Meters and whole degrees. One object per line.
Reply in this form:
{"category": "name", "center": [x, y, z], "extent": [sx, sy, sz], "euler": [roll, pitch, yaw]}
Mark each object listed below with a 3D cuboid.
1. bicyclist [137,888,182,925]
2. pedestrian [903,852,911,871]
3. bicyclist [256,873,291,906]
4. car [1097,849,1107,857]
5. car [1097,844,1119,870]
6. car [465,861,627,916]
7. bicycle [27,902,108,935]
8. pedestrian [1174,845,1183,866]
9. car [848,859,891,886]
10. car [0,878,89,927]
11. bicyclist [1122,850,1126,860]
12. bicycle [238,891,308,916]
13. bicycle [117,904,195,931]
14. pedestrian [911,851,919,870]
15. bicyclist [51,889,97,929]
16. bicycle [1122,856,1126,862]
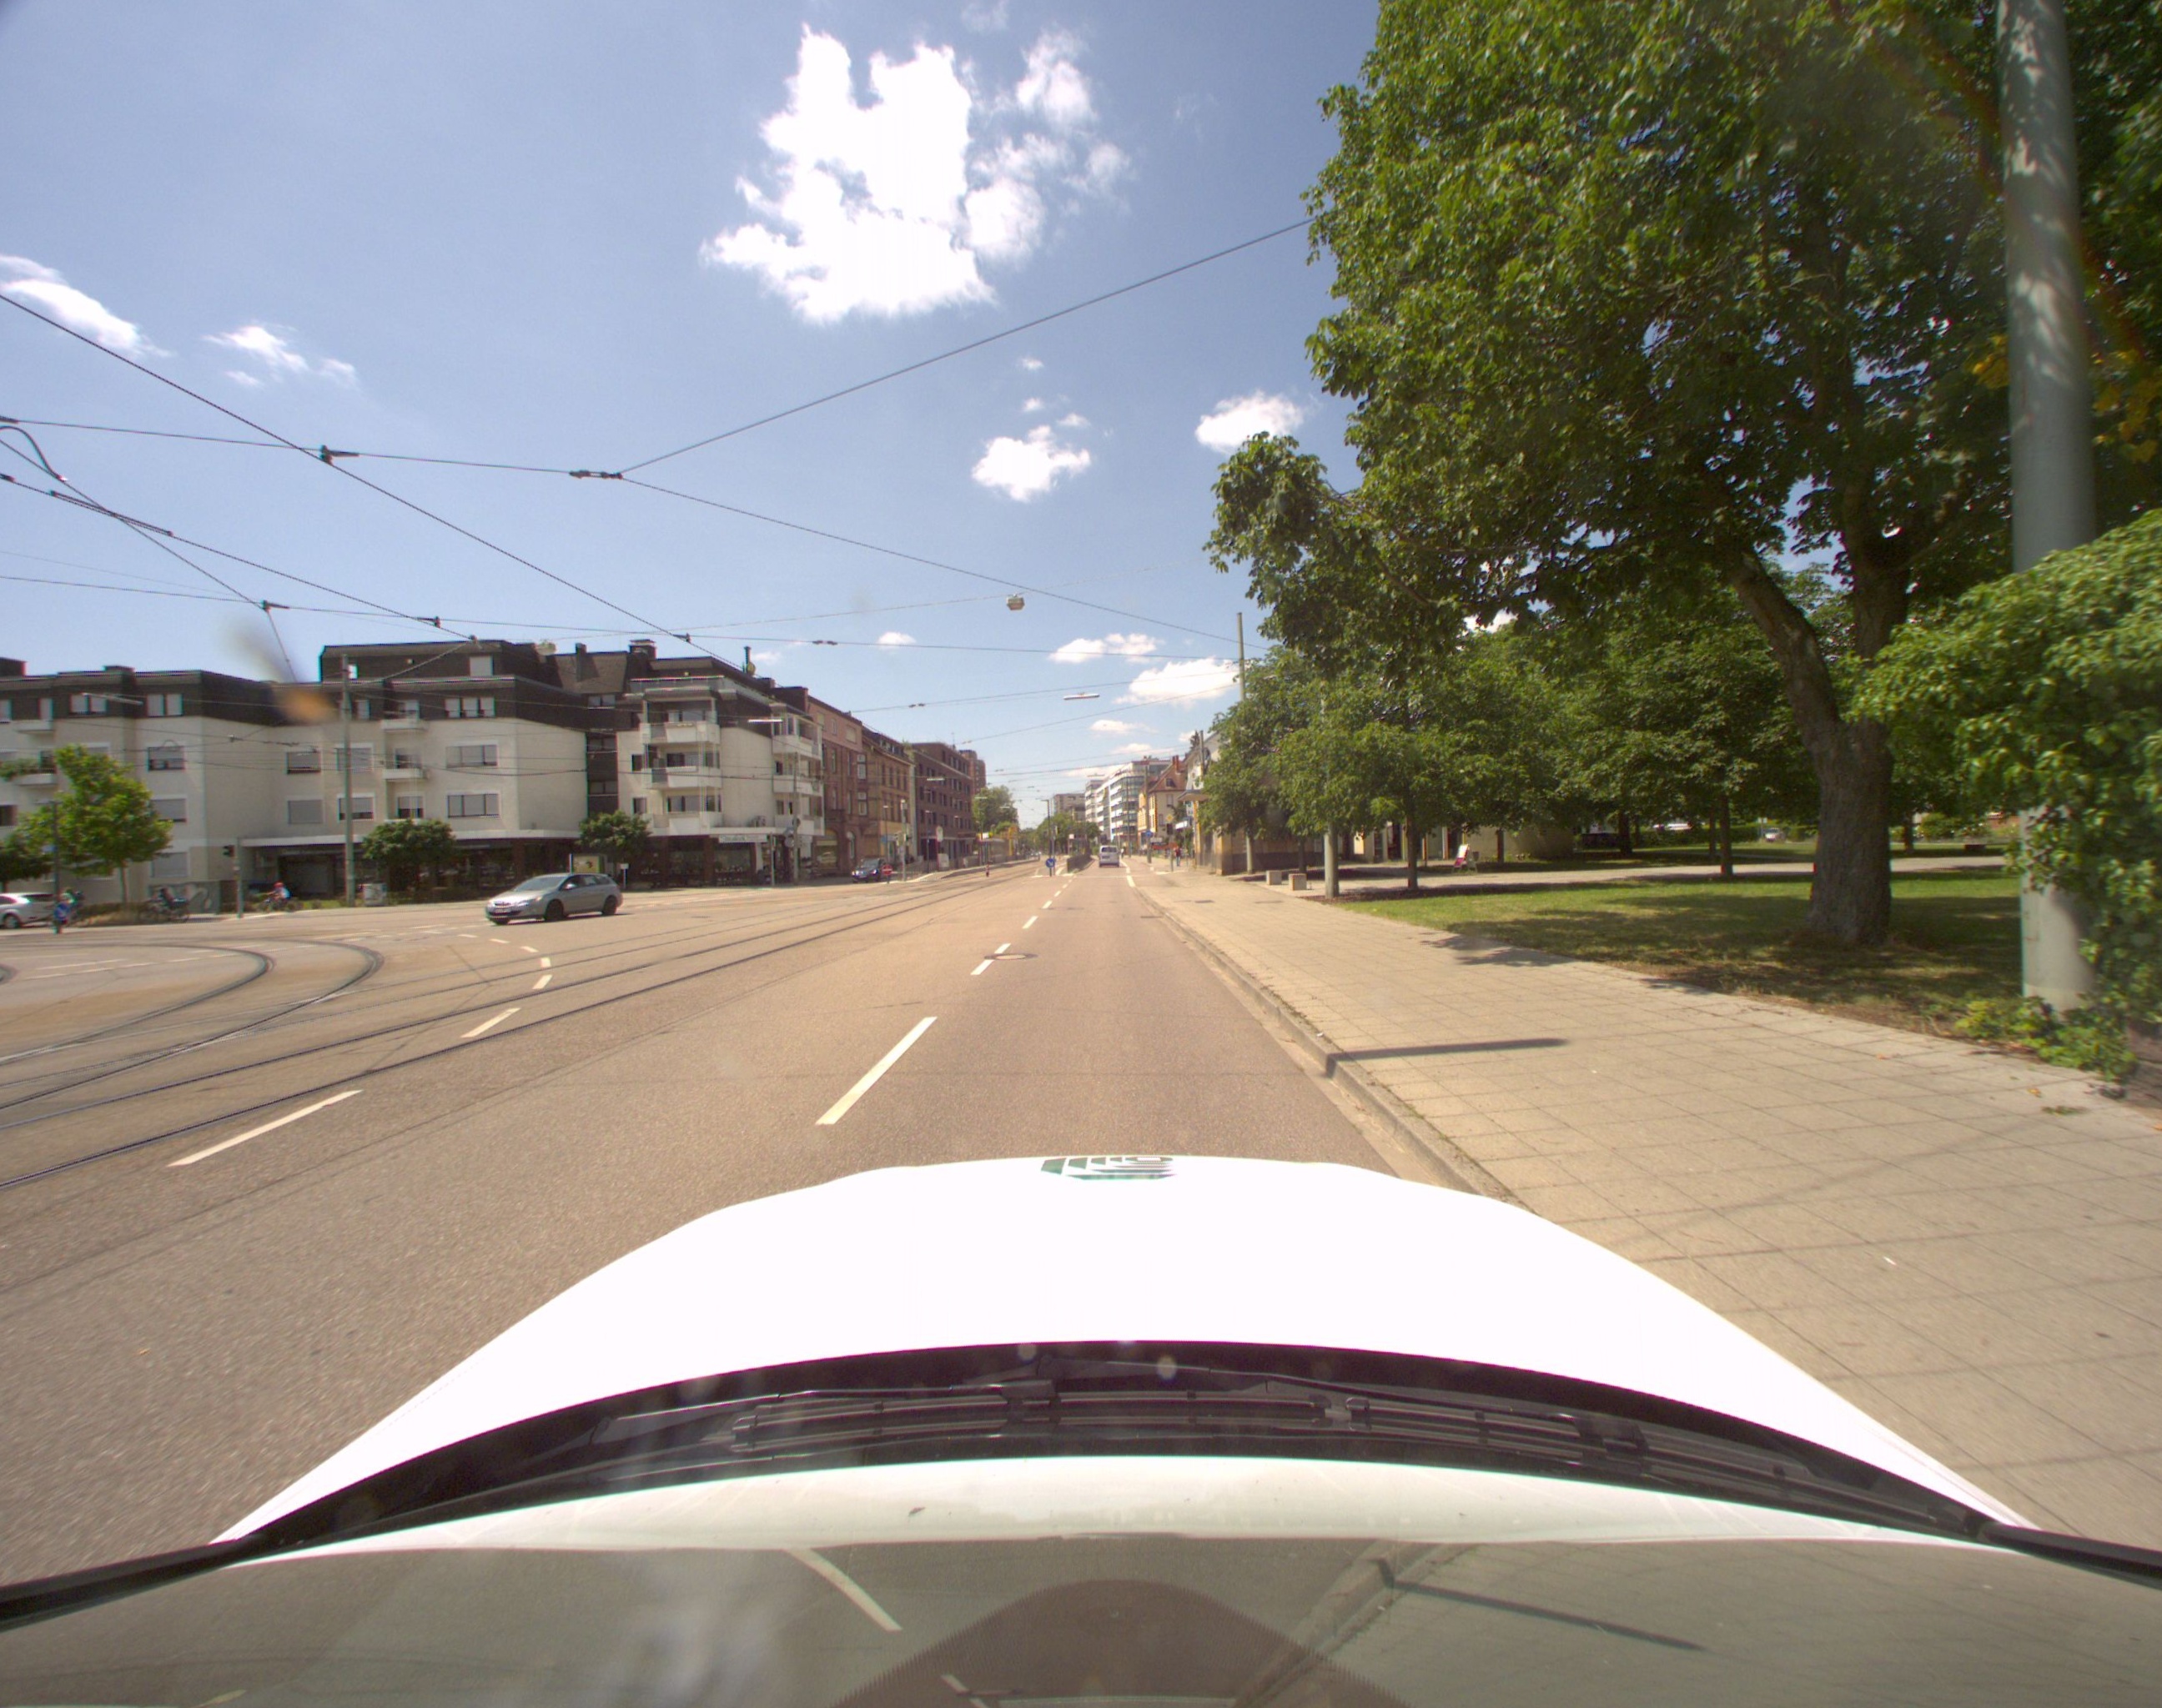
{"category": "bicyclist", "center": [-37.591, 2.141, 33.222], "extent": [0.962, 1.422, 0.628], "euler": [-4, -1, -12]}
{"category": "pedestrian", "center": [-18.654, 0.762, 87.428], "extent": [0.615, 2.013, 0.810], "euler": [-2, 0, 0]}
{"category": "bicyclist", "center": [-37.088, 1.628, 37.408], "extent": [0.846, 1.468, 0.654], "euler": [-4, -1, -10]}
{"category": "car", "center": [4.573, -0.272, 179.484], "extent": [1.859, 1.687, 4.994], "euler": [-3, 1, -3]}
{"category": "car", "center": [2.302, 0.214, 69.130], "extent": [1.745, 2.013, 4.003], "euler": [-3, 1, 2]}
{"category": "car", "center": [-16.488, 1.004, 25.420], "extent": [1.986, 1.471, 4.404], "euler": [-2, 0, 2]}
{"category": "bicycle", "center": [-40.674, 2.587, 32.711], "extent": [2.249, 1.101, 0.515], "euler": [-4, -1, -8]}
{"category": "pedestrian", "center": [7.445, 0.089, 61.995], "extent": [0.574, 1.556, 0.787], "euler": [-4, -1, 5]}
{"category": "car", "center": [-14.392, 1.230, 55.639], "extent": [1.718, 1.683, 4.278], "euler": [-2, 1, 0]}
{"category": "car", "center": [-45.380, 2.101, 34.549], "extent": [3.974, 1.912, 2.000], "euler": [-3, 0, 0]}
{"category": "bicyclist", "center": [6.404, 0.112, 121.738], "extent": [0.589, 1.397, 0.841], "euler": [-2, 0, -2]}
{"category": "bicycle", "center": [-37.084, 2.260, 37.401], "extent": [2.250, 0.934, 0.669], "euler": [-4, -1, -10]}
{"category": "bicycle", "center": [-37.673, 2.570, 33.183], "extent": [2.252, 0.881, 0.416], "euler": [-4, -1, -13]}
{"category": "pedestrian", "center": [-17.887, 0.740, 87.617], "extent": [0.674, 2.014, 0.684], "euler": [-1, -1, -1]}
{"category": "bicyclist", "center": [-40.486, 2.204, 32.747], "extent": [0.850, 1.487, 0.735], "euler": [-4, -1, -8]}
{"category": "bicycle", "center": [6.420, 0.706, 121.857], "extent": [0.464, 0.887, 2.047], "euler": [-2, 0, -1]}
